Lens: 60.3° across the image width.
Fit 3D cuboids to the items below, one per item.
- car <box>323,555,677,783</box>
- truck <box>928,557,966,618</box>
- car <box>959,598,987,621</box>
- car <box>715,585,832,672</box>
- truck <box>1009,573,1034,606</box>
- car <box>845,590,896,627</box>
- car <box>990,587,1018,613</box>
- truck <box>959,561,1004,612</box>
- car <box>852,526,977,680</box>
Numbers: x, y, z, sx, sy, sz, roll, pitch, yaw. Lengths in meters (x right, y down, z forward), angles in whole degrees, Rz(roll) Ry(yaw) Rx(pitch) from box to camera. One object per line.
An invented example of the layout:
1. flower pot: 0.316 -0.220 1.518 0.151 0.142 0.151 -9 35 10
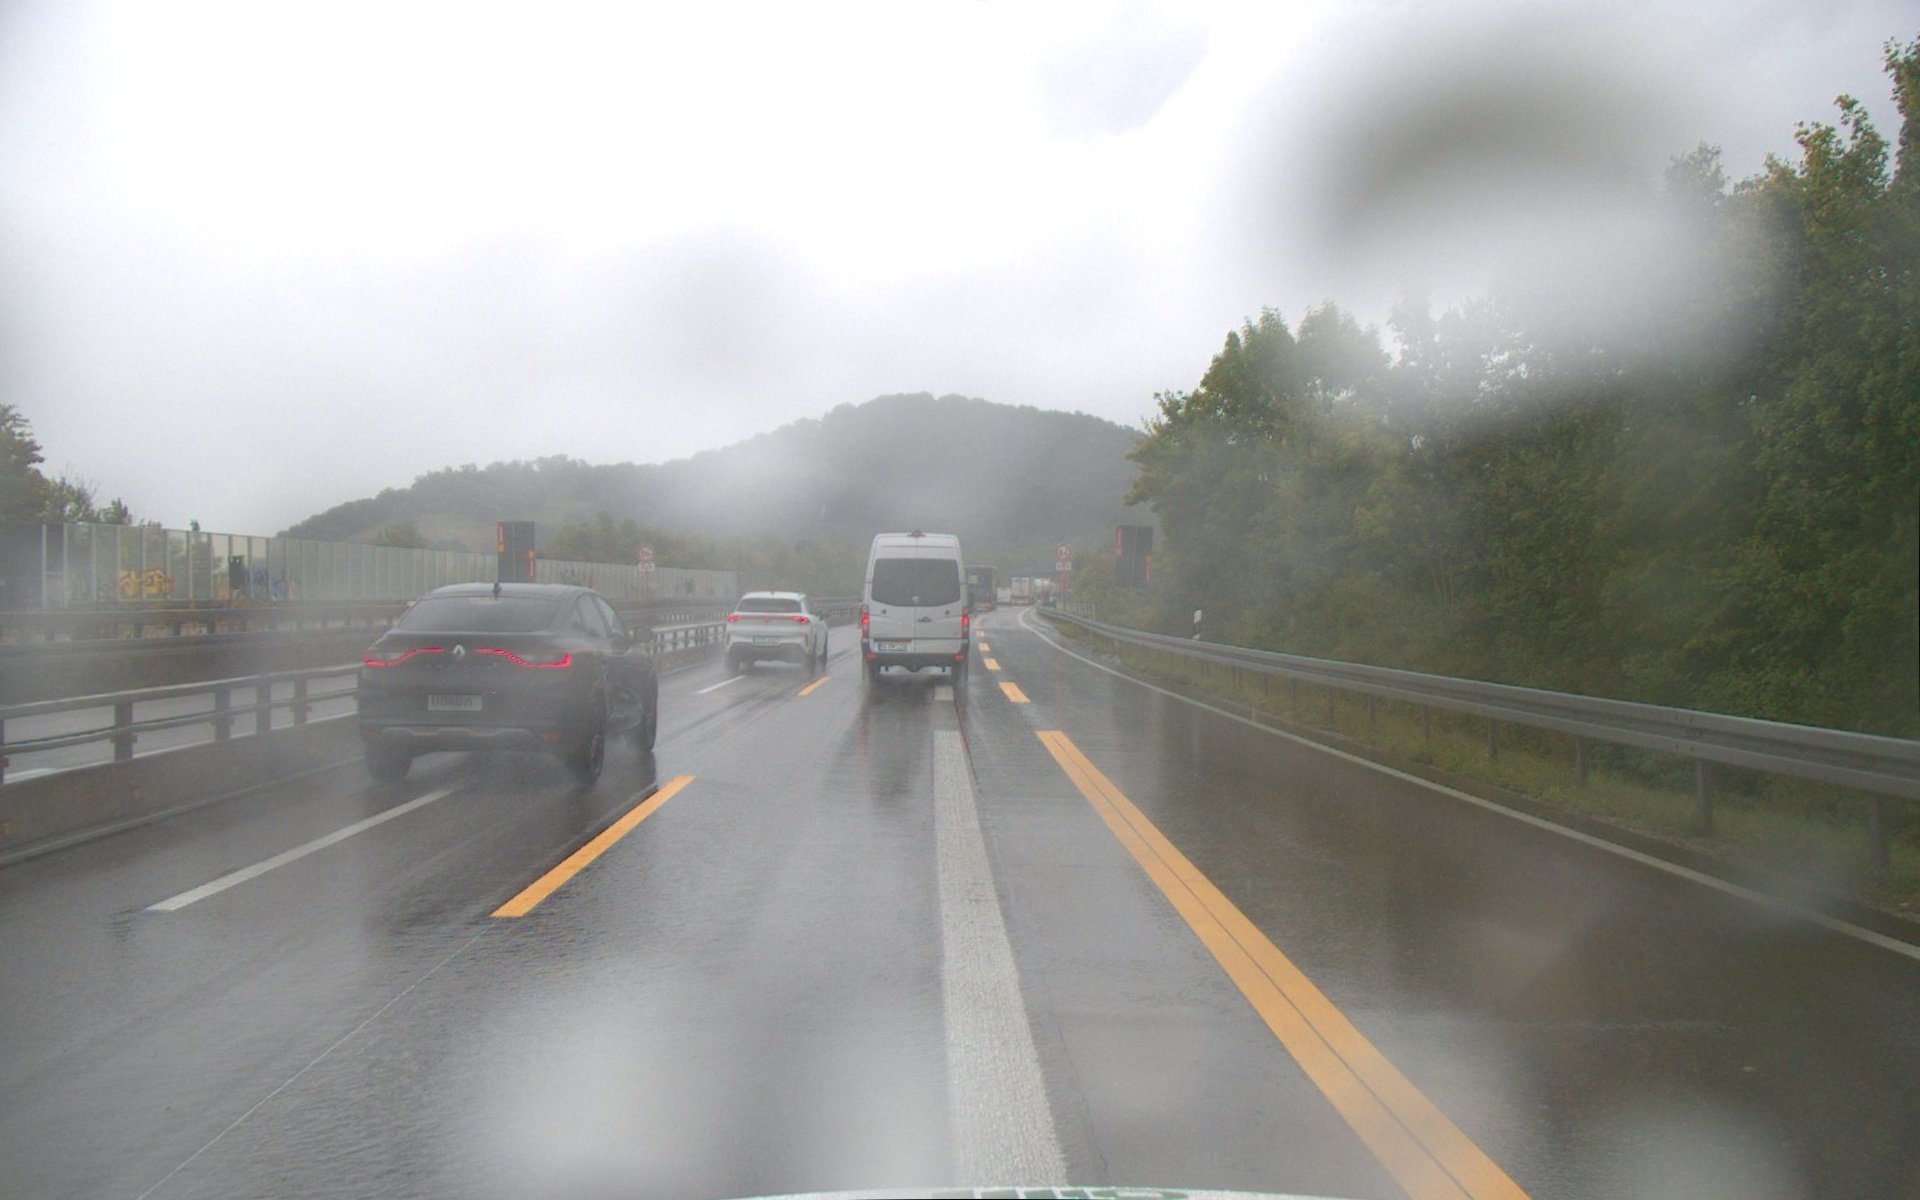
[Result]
1. car: -3.696 0.510 14.176 1.954 1.613 4.411 1 0 -3
2. truck: -0.678 -0.632 91.550 1.952 3.163 8.498 1 0 0
3. car: 0.883 0.627 110.982 1.737 1.501 4.001 1 0 2
4. car: -3.795 0.558 34.423 1.953 1.646 4.795 1 0 -1
5. truck: 8.699 -1.390 232.418 2.972 4.483 9.629 1 0 4
6. car: -3.967 0.392 73.997 1.906 1.588 4.001 1 0 2
7. car: 5.264 0.028 197.853 2.837 2.938 6.415 1 0 6
8. truck: 2.011 -1.143 151.437 3.506 4.483 9.628 1 0 4
9. car: -0.859 0.067 31.186 2.102 2.616 5.387 1 0 -2
